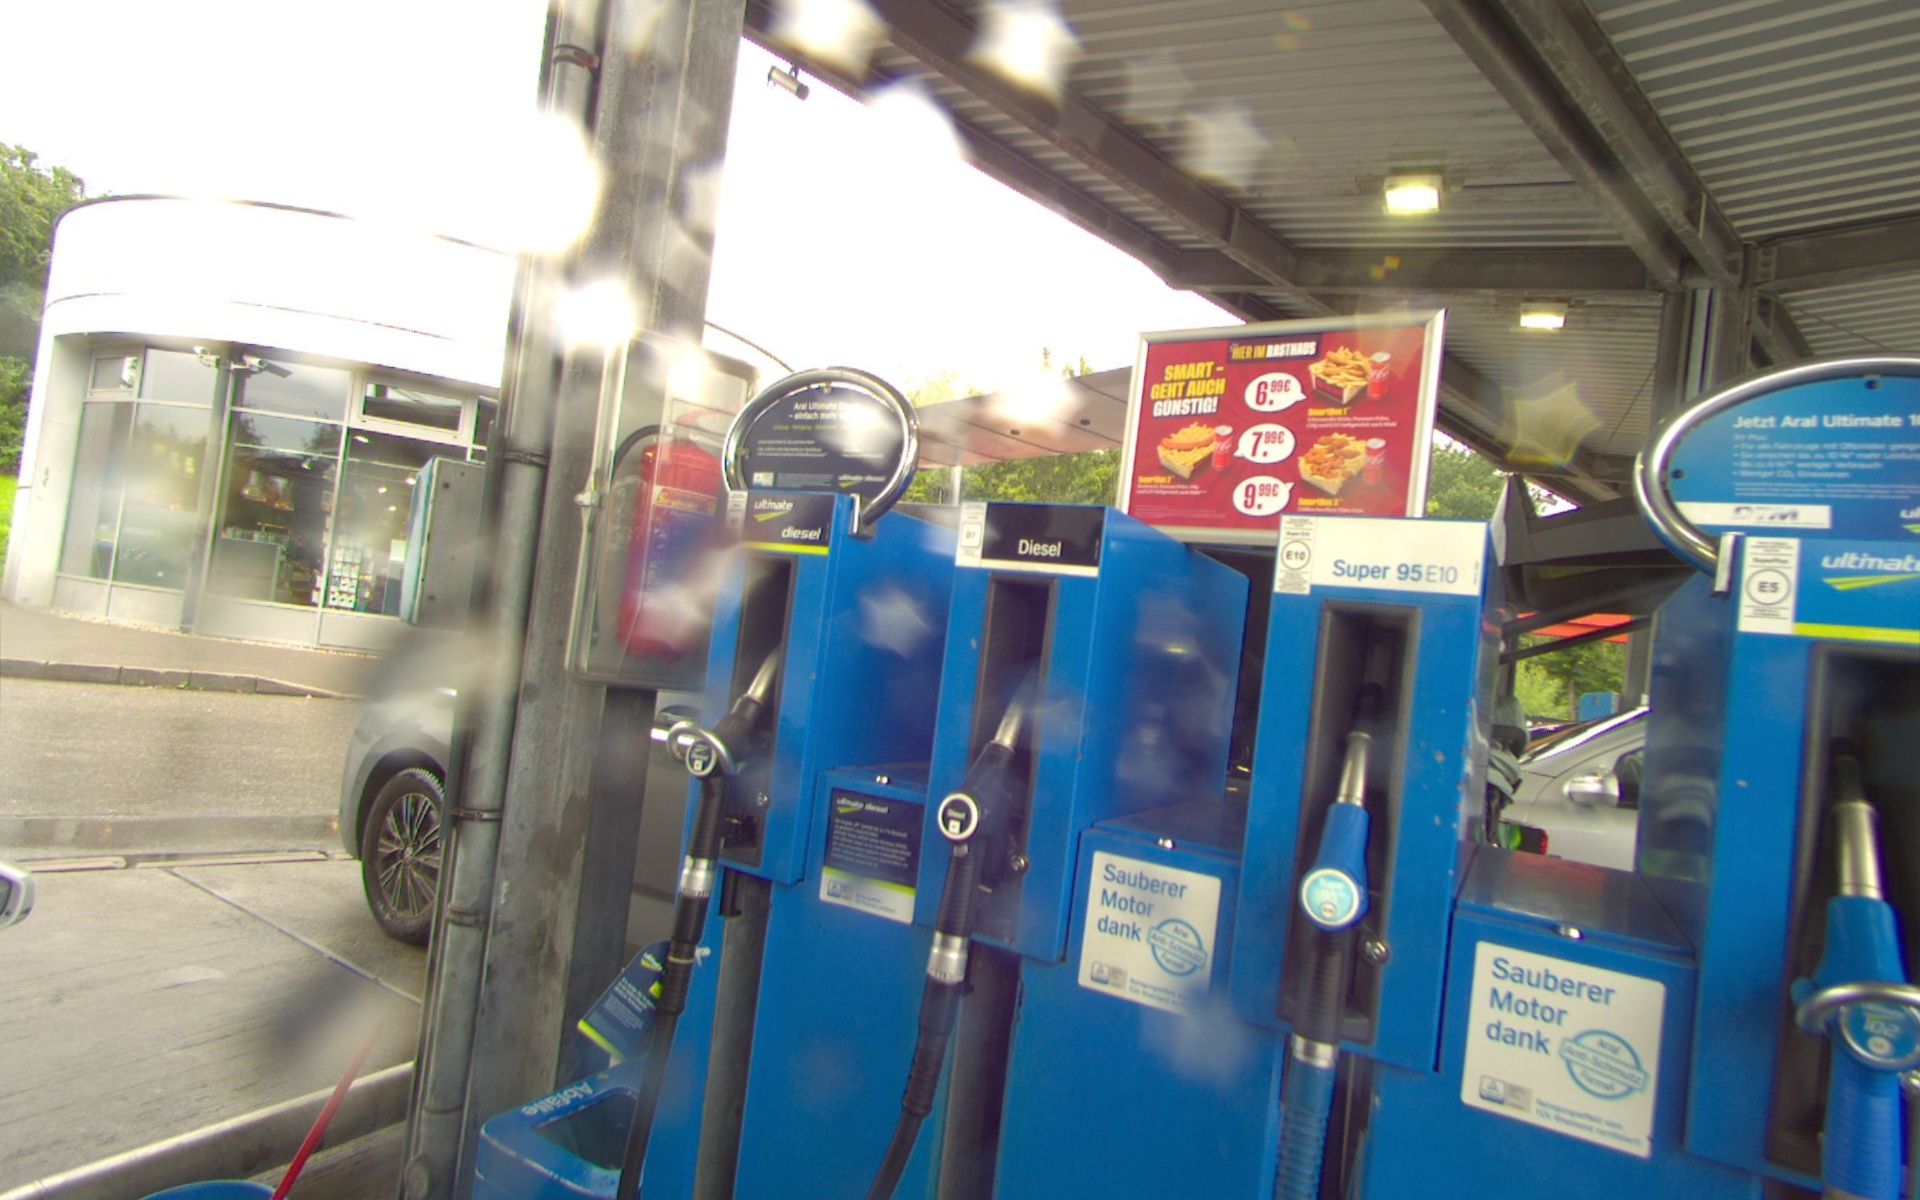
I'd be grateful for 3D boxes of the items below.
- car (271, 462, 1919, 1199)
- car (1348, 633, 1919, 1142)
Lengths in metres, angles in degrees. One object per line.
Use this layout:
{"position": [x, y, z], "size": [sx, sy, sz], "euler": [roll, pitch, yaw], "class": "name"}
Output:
{"position": [-0.166, 0.646, 3.687], "size": [5.055, 1.819, 1.865], "euler": [6, -2, 32], "class": "car"}
{"position": [4.471, 1.371, 4.829], "size": [4.464, 1.819, 1.865], "euler": [6, -2, 32], "class": "car"}
